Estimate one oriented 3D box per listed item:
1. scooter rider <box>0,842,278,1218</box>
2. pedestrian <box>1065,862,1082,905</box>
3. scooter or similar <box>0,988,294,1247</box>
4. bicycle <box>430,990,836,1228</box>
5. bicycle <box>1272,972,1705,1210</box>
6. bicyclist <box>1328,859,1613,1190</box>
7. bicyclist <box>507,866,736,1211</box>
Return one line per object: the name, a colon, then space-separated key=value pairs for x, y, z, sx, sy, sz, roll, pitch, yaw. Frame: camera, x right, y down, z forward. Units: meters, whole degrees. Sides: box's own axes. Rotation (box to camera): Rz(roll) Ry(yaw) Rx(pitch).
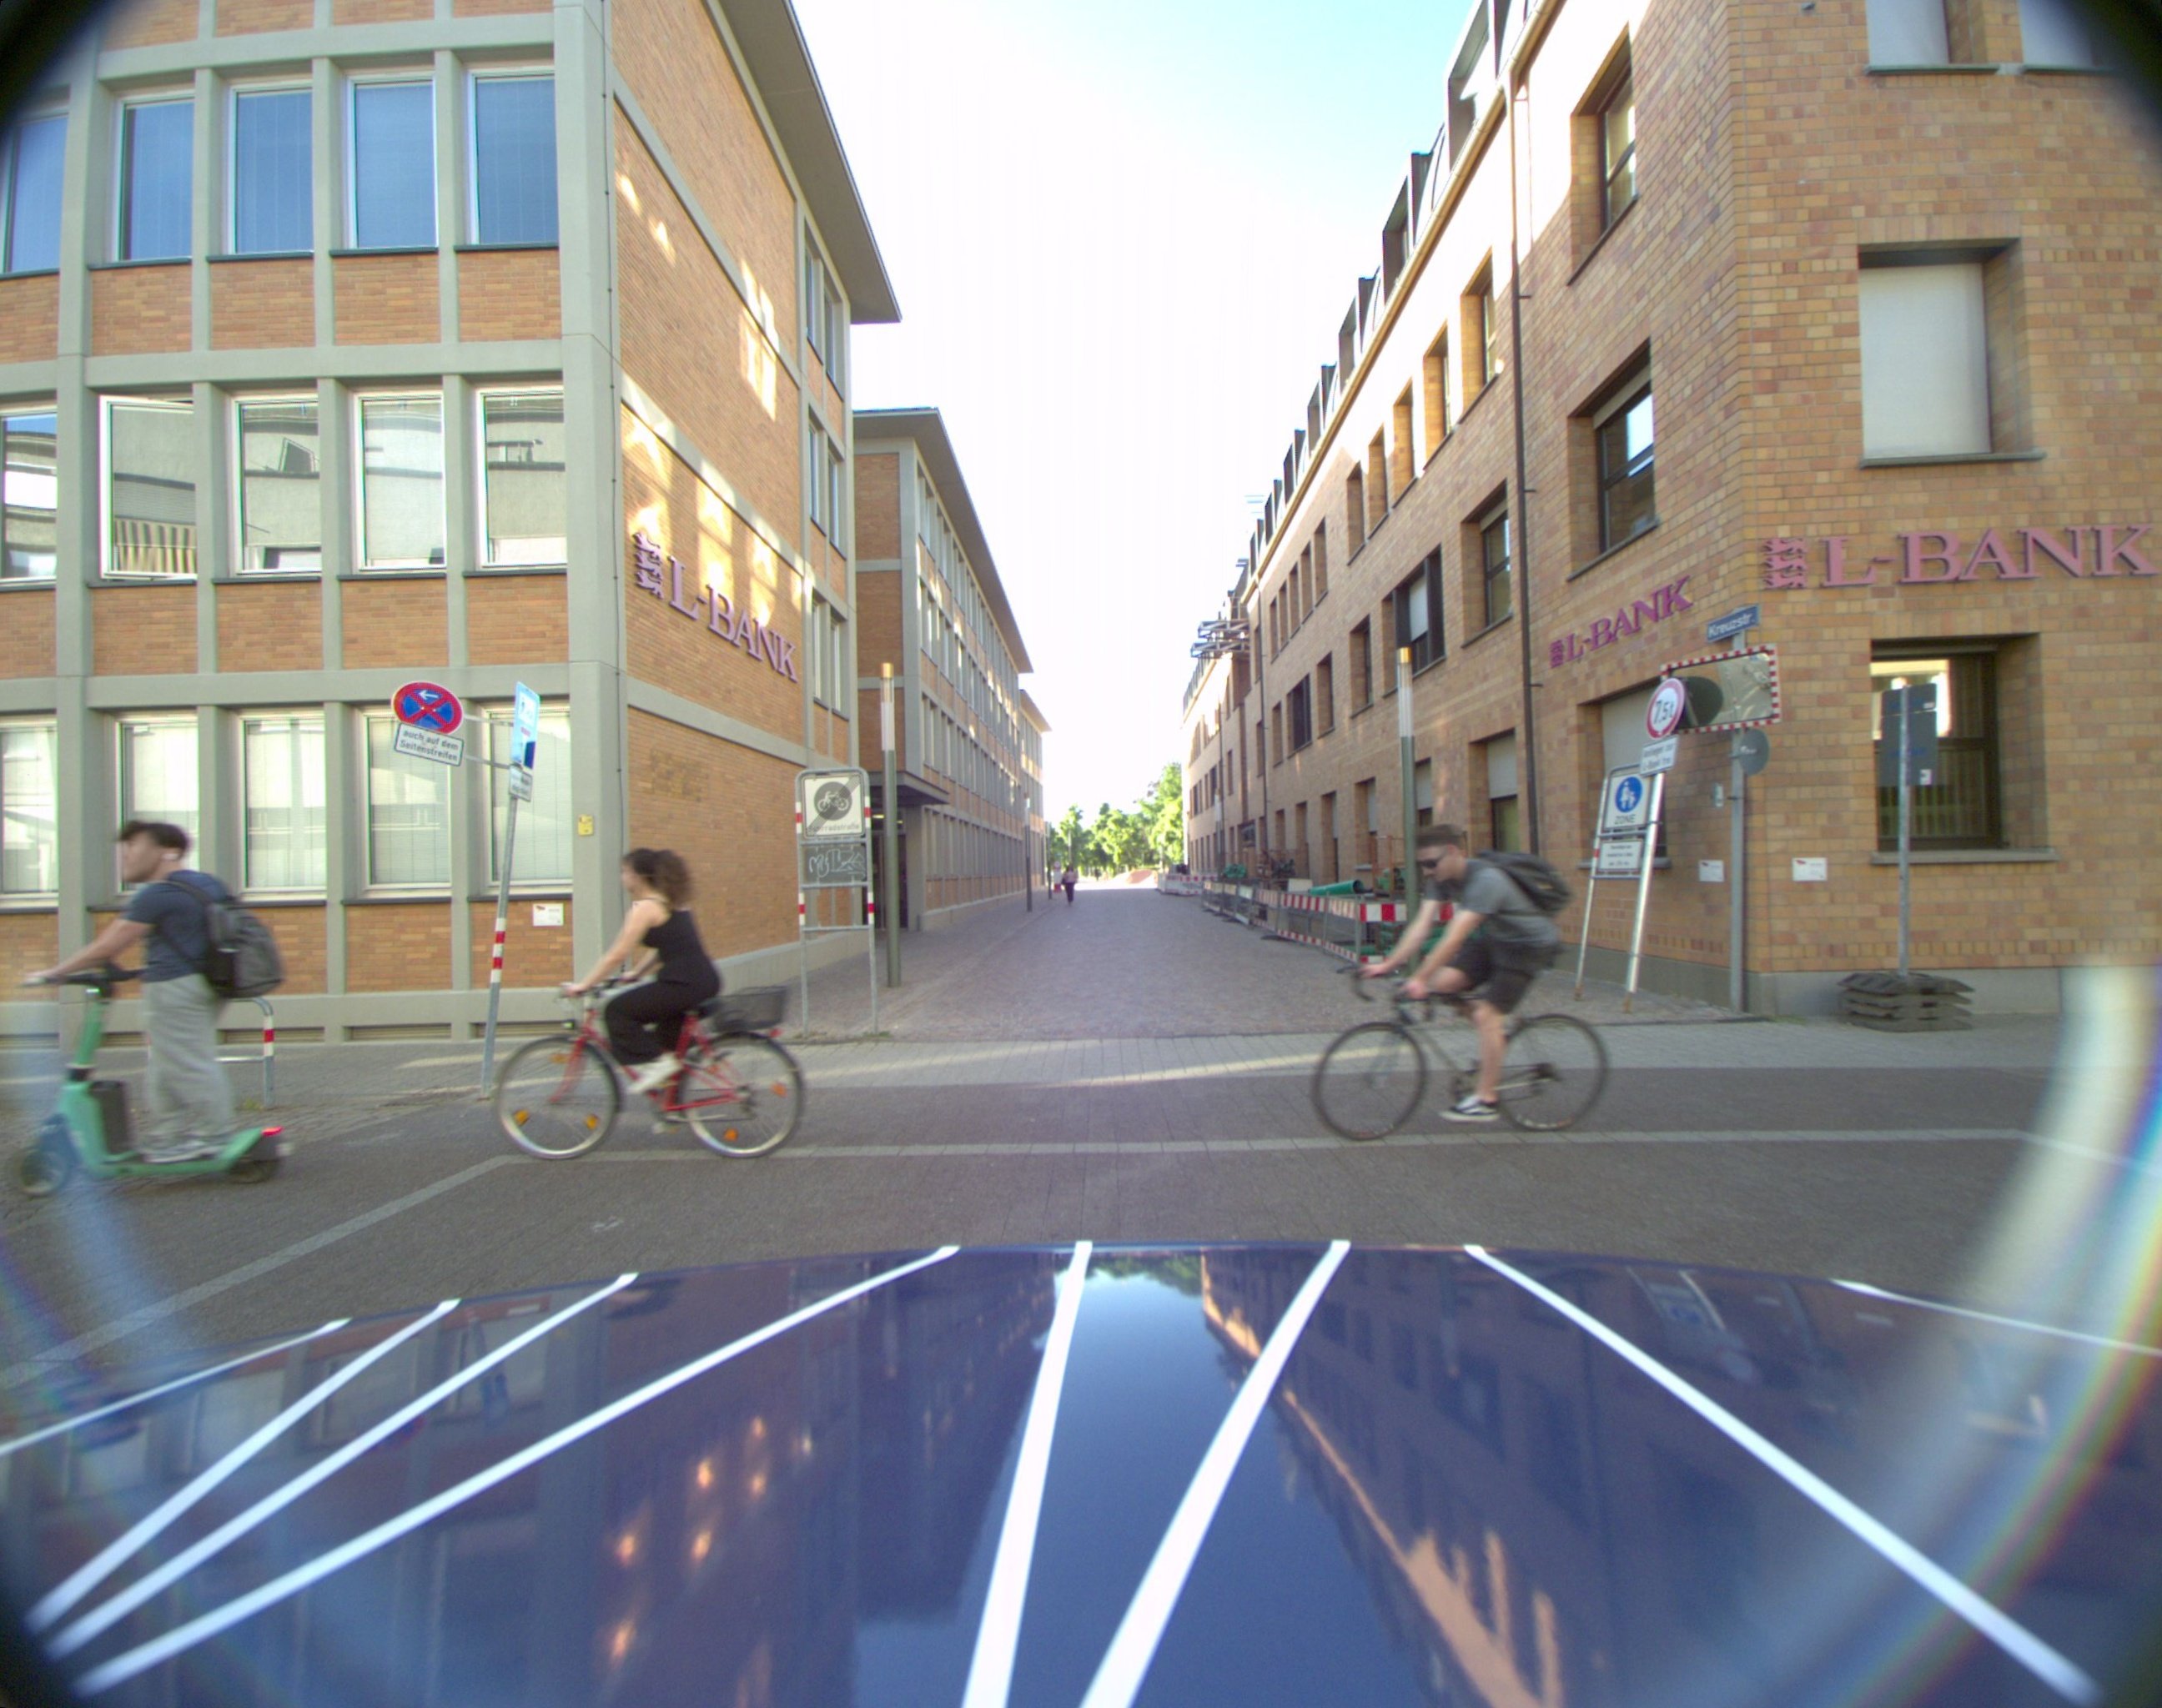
scooter rider: x=-4.729 y=0.810 z=3.815 sx=0.701 sy=1.716 sz=0.649 roll=0 pitch=0 yaw=-2
pedestrian: x=-0.322 y=1.255 z=32.215 sx=0.638 sy=1.774 sz=0.652 roll=-1 pitch=-3 yaw=2
scooter or similar: x=-4.852 y=1.307 z=3.861 sx=1.278 sy=1.178 sz=0.337 roll=-1 pitch=-2 yaw=-2
bicycle: x=-2.305 y=1.305 z=4.026 sx=1.799 sy=1.045 sz=0.591 roll=-2 pitch=-2 yaw=1
bicycle: x=1.980 y=1.173 z=3.889 sx=1.834 sy=1.044 sz=0.574 roll=-2 pitch=-4 yaw=4
bicyclist: x=1.941 y=0.818 z=3.919 sx=1.108 sy=1.549 sz=0.650 roll=-2 pitch=0 yaw=4
bicyclist: x=-2.391 y=0.912 z=4.029 sx=0.823 sy=1.656 sz=0.620 roll=-2 pitch=-3 yaw=2
